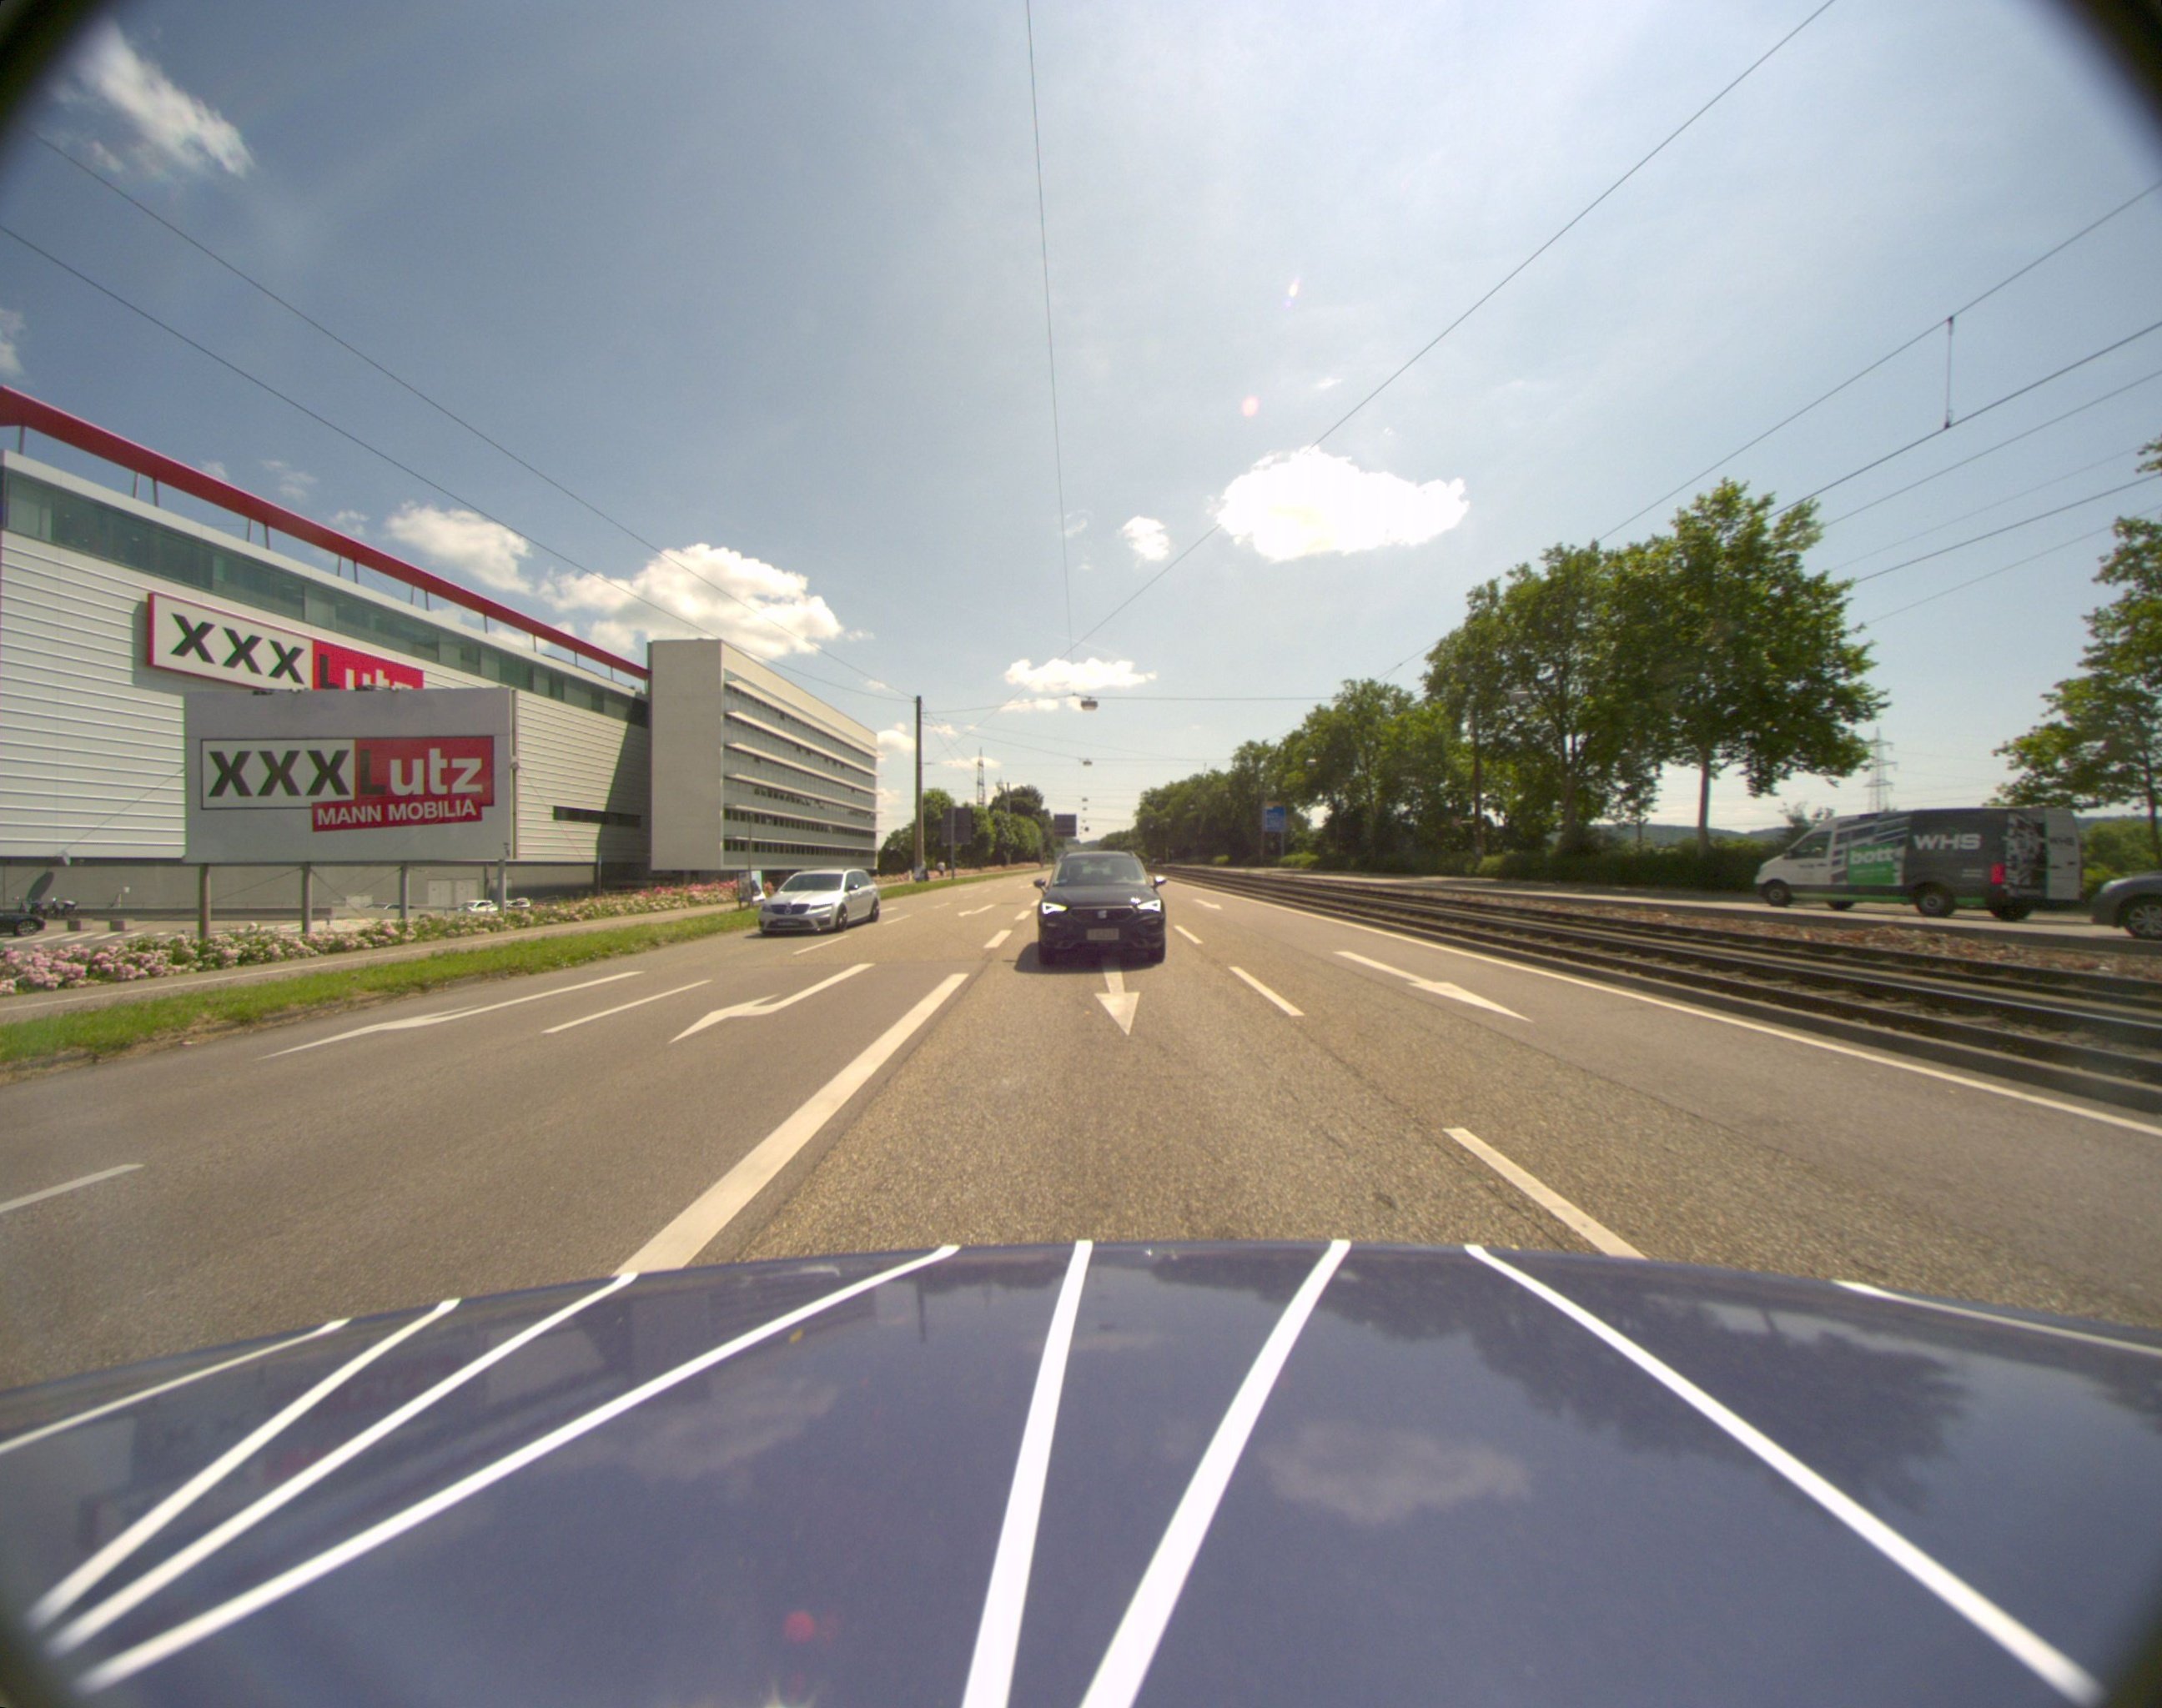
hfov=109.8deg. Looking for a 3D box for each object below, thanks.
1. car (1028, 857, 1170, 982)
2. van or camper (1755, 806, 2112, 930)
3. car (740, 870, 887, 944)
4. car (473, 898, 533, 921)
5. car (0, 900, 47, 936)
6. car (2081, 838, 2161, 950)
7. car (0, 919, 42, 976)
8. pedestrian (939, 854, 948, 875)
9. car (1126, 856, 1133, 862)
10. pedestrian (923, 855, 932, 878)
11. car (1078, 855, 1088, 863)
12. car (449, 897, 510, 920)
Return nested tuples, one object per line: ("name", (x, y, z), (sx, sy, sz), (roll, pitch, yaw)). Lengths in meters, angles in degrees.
("car", (0.271, 0.871, 11.996), (1.819, 1.583, 4.000), (-2, 0, 1))
("van or camper", (20.336, 0.289, 18.727), (1.999, 2.571, 5.842), (0, 0, -4))
("car", (-6.127, 1.143, 18.025), (1.802, 1.390, 4.460), (-2, 0, 1))
("car", (-49.143, 4.714, 64.677), (1.998, 1.637, 4.000), (-2, 0, 0))
("car", (-44.690, 2.673, 29.918), (1.698, 1.392, 4.519), (-2, 0, 0))
("car", (16.785, 0.603, 9.808), (1.999, 1.627, 4.263), (1, 0, -4))
("car", (-31.668, 2.720, 20.124), (1.998, 1.554, 4.520), (-2, 0, 2))
("pedestrian", (-11.358, 0.853, 62.712), (0.599, 1.645, 0.634), (-2, 1, 0))
("car", (15.433, 1.608, 241.534), (1.999, 1.626, 4.266), (-1, -1, 0))
("pedestrian", (-12.163, 0.987, 60.234), (0.518, 1.783, 0.634), (-2, 1, 0))
("car", (0.436, 1.078, 162.157), (1.819, 1.829, 4.002), (-1, 0, 5))
("car", (-51.881, 4.655, 65.632), (1.998, 1.637, 4.000), (-2, 0, 0))
